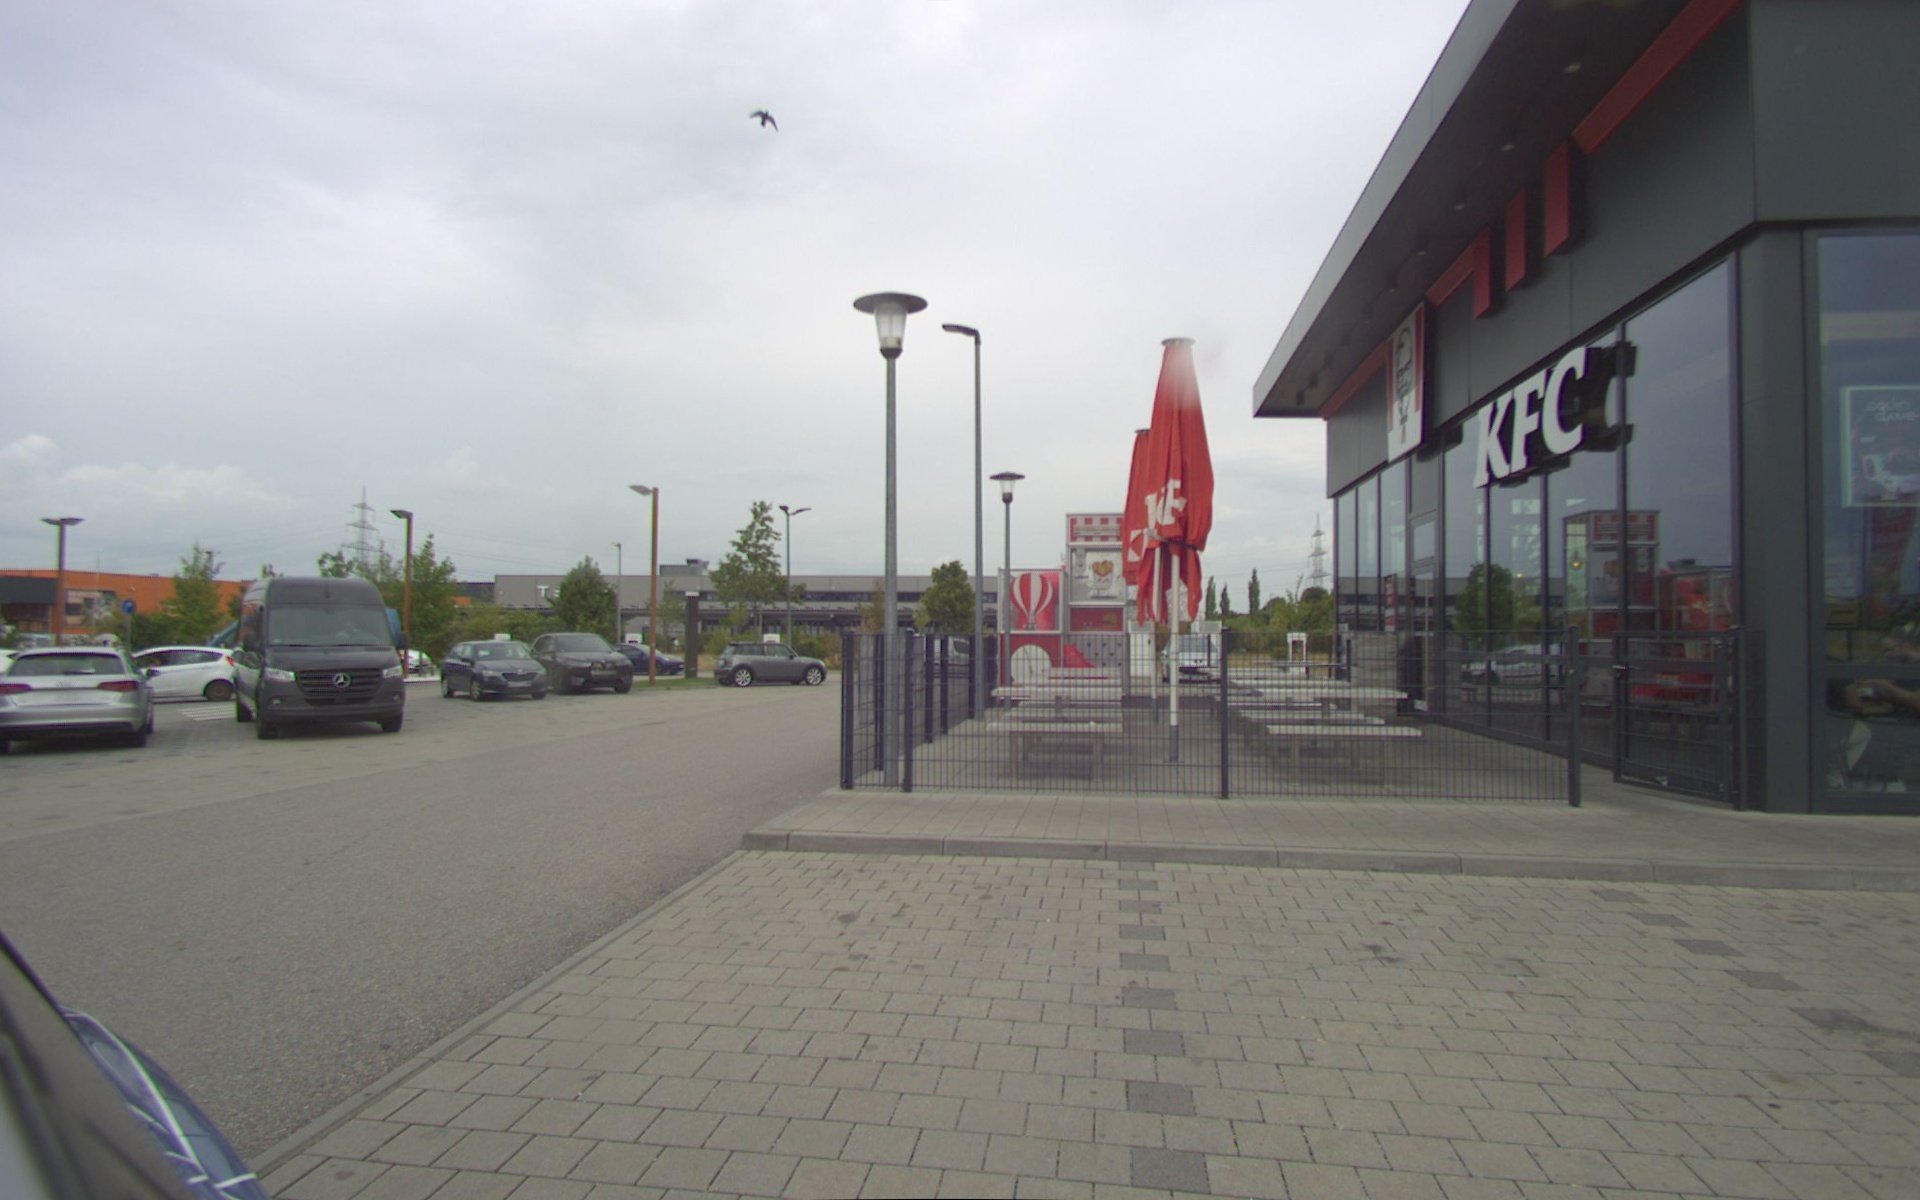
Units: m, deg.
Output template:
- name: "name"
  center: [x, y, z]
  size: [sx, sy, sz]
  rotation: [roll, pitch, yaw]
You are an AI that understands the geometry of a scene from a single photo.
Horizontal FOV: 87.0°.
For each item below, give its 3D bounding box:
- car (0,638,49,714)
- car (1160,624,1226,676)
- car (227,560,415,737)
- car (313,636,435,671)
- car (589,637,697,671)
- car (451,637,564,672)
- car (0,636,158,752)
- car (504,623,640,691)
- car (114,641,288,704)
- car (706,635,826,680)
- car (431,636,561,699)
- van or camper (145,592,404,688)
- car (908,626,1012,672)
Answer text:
- name: "car"
  center: [-20.371, 1.521, 19.547]
  size: [4.047, 1.478, 1.782]
  rotation: [1, -5, -41]
- name: "car"
  center: [7.165, 1.528, 31.406]
  size: [1.610, 1.516, 4.158]
  rotation: [0, -2, 8]
- name: "car"
  center: [-11.600, 0.854, 18.078]
  size: [2.040, 2.573, 7.025]
  rotation: [1, -3, -39]
- name: "car"
  center: [-28.037, 2.542, 48.495]
  size: [4.890, 1.614, 2.067]
  rotation: [0, -2, 10]
- name: "car"
  center: [-14.450, 2.448, 46.213]
  size: [4.409, 1.470, 1.827]
  rotation: [0, -1, 11]
- name: "car"
  center: [-21.174, 2.541, 47.482]
  size: [4.425, 1.565, 2.068]
  rotation: [-1, -2, 8]
- name: "car"
  center: [-12.995, 1.306, 14.967]
  size: [1.660, 1.462, 4.009]
  rotation: [0, -3, -37]
- name: "car"
  center: [-11.073, 1.592, 28.669]
  size: [1.969, 1.741, 4.903]
  rotation: [2, -4, -42]
- name: "car"
  center: [-19.688, 1.836, 26.337]
  size: [3.517, 1.465, 1.846]
  rotation: [1, -3, -39]
- name: "car"
  center: [-6.283, 1.877, 32.875]
  size: [3.467, 1.387, 1.614]
  rotation: [2, -4, -32]
- name: "car"
  center: [-11.780, 1.642, 25.565]
  size: [1.805, 1.422, 4.003]
  rotation: [0, -2, -44]
- name: "van or camper"
  center: [-21.075, 1.174, 31.484]
  size: [6.463, 2.721, 2.178]
  rotation: [0, -2, -33]
- name: "car"
  center: [0.038, 2.107, 43.675]
  size: [4.286, 1.902, 1.941]
  rotation: [0, -3, 8]
